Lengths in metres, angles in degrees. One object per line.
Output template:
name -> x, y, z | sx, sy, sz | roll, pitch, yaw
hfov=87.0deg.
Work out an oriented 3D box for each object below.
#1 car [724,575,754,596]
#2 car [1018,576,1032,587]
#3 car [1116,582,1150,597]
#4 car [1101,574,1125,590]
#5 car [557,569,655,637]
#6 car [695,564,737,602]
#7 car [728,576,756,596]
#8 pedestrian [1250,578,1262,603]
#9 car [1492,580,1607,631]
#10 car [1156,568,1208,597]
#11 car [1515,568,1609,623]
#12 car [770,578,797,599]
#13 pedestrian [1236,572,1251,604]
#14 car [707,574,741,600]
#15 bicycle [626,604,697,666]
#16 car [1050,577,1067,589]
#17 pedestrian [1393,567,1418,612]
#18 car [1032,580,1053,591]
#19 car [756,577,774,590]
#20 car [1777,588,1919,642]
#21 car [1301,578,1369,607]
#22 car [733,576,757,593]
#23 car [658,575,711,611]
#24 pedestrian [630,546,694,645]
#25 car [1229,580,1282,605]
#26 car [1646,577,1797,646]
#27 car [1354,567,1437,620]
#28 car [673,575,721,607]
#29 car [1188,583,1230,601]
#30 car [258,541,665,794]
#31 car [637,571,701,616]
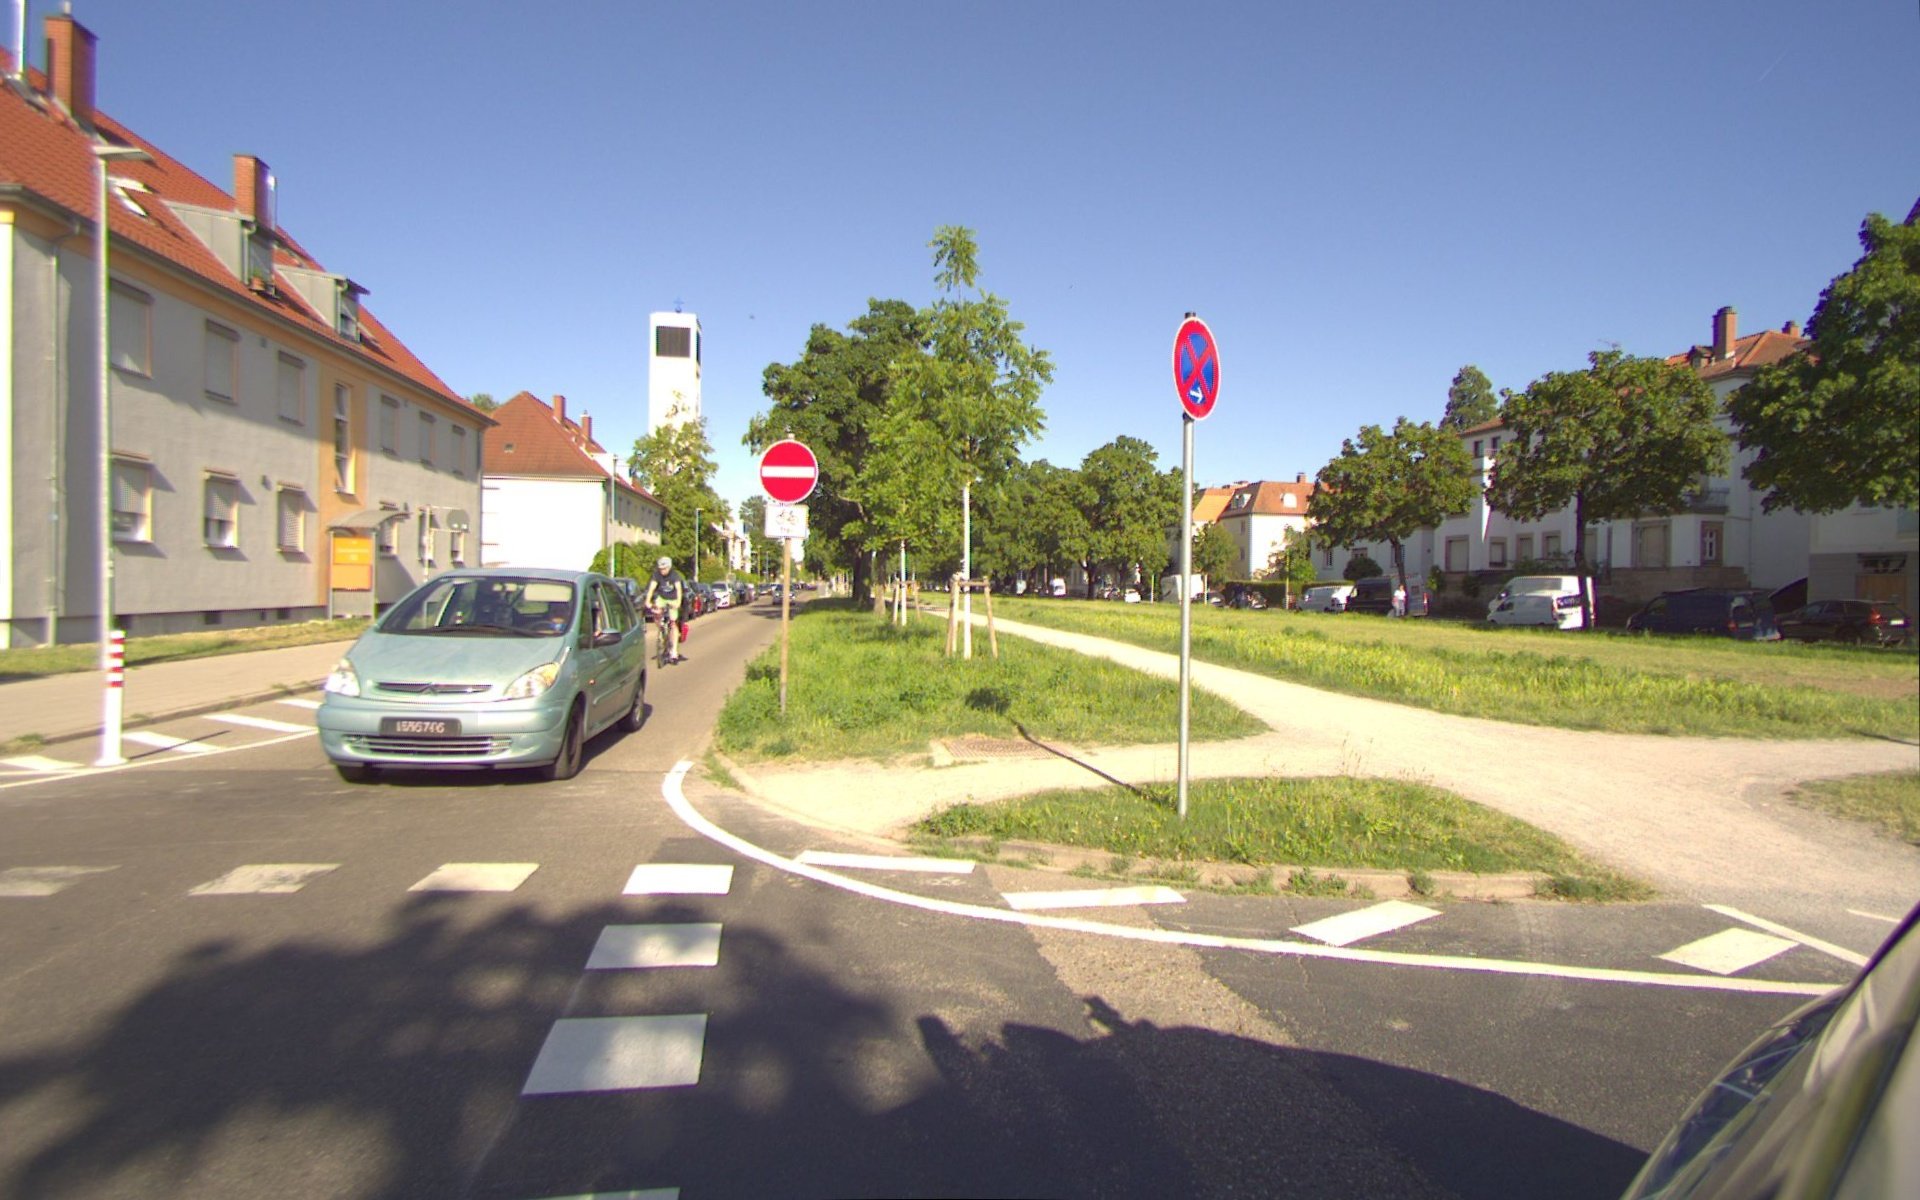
car -> -15.039, -0.978, 68.935 | 1.686, 1.358, 3.815 | 1, 1, -7
car -> 11.839, -3.420, 185.056 | 1.828, 1.868, 4.000 | 1, 1, -7
car -> 17.321, -1.062, 101.465 | 2.039, 1.484, 4.734 | 1, 1, -7
car -> 18.960, -2.244, 125.470 | 1.828, 1.868, 4.000 | 1, 1, -7
car -> -9.548, 0.025, 27.582 | 1.686, 1.685, 4.070 | 1, 1, -7
car -> -13.881, -0.992, 57.771 | 1.834, 2.039, 4.262 | 1, 1, -8
car -> -15.965, -1.054, 74.104 | 1.686, 1.358, 3.815 | 1, 1, -7
pedestrian -> 17.702, -0.575, 60.572 | 0.487, 1.524, 0.536 | 1, 1, -7
car -> 24.768, 0.188, 42.723 | 1.839, 1.907, 4.430 | -3, 2, -7
car -> 18.842, -1.514, 86.089 | 2.500, 2.363, 5.928 | 1, 1, -7
car -> 29.743, -0.264, 50.179 | 1.982, 2.580, 4.000 | -1, 1, -7
car -> -12.432, -0.820, 71.279 | 1.686, 1.358, 3.815 | 1, 1, -7
pedestrian -> 16.975, -0.733, 60.662 | 0.631, 1.900, 0.630 | 1, 1, -9
car -> -14.633, -0.825, 62.931 | 1.686, 1.517, 3.815 | 1, 1, -7
bicycle -> -5.385, 0.599, 18.419 | 1.032, 0.949, 2.770 | 1, 1, -12
car -> 15.272, -2.650, 157.047 | 1.828, 1.868, 4.000 | 1, 1, -7
pedestrian -> 18.985, -0.452, 43.116 | 0.709, 1.900, 0.630 | 1, 1, -9
car -> 11.925, -2.085, 146.743 | 2.039, 1.484, 4.734 | 1, 1, -7
car -> -20.737, -1.772, 107.772 | 1.686, 1.358, 3.815 | 1, 1, -7
car -> 31.617, 0.490, 35.637 | 1.858, 1.703, 4.295 | 1, 1, -7
car -> 22.571, -0.481, 61.093 | 2.043, 1.618, 4.294 | 1, 1, -7
car -> -18.050, -1.317, 85.210 | 1.686, 1.358, 3.815 | 1, 1, -7
car -> -11.917, -0.338, 44.000 | 1.686, 1.460, 4.147 | 1, 1, -7
pedestrian -> -5.368, -0.083, 18.287 | 1.032, 1.730, 0.694 | 1, 1, -12
car -> 21.021, -0.560, 72.210 | 2.043, 1.618, 4.294 | 1, 1, -7
car -> 25.824, 0.328, 34.509 | 1.748, 2.109, 4.000 | -3, 2, -7
car -> 23.242, -0.388, 54.217 | 2.149, 2.616, 4.294 | -3, 2, -6
car -> -12.576, -0.472, 48.565 | 1.686, 1.460, 4.147 | 1, 1, -7
car -> 19.588, -0.648, 79.738 | 1.895, 1.361, 4.115 | 1, 1, -7
car -> -3.858, 0.395, 8.735 | 1.850, 1.628, 4.254 | 1, 1, -7
car -> -10.957, -0.287, 38.347 | 1.686, 1.603, 4.147 | 1, 1, -7
